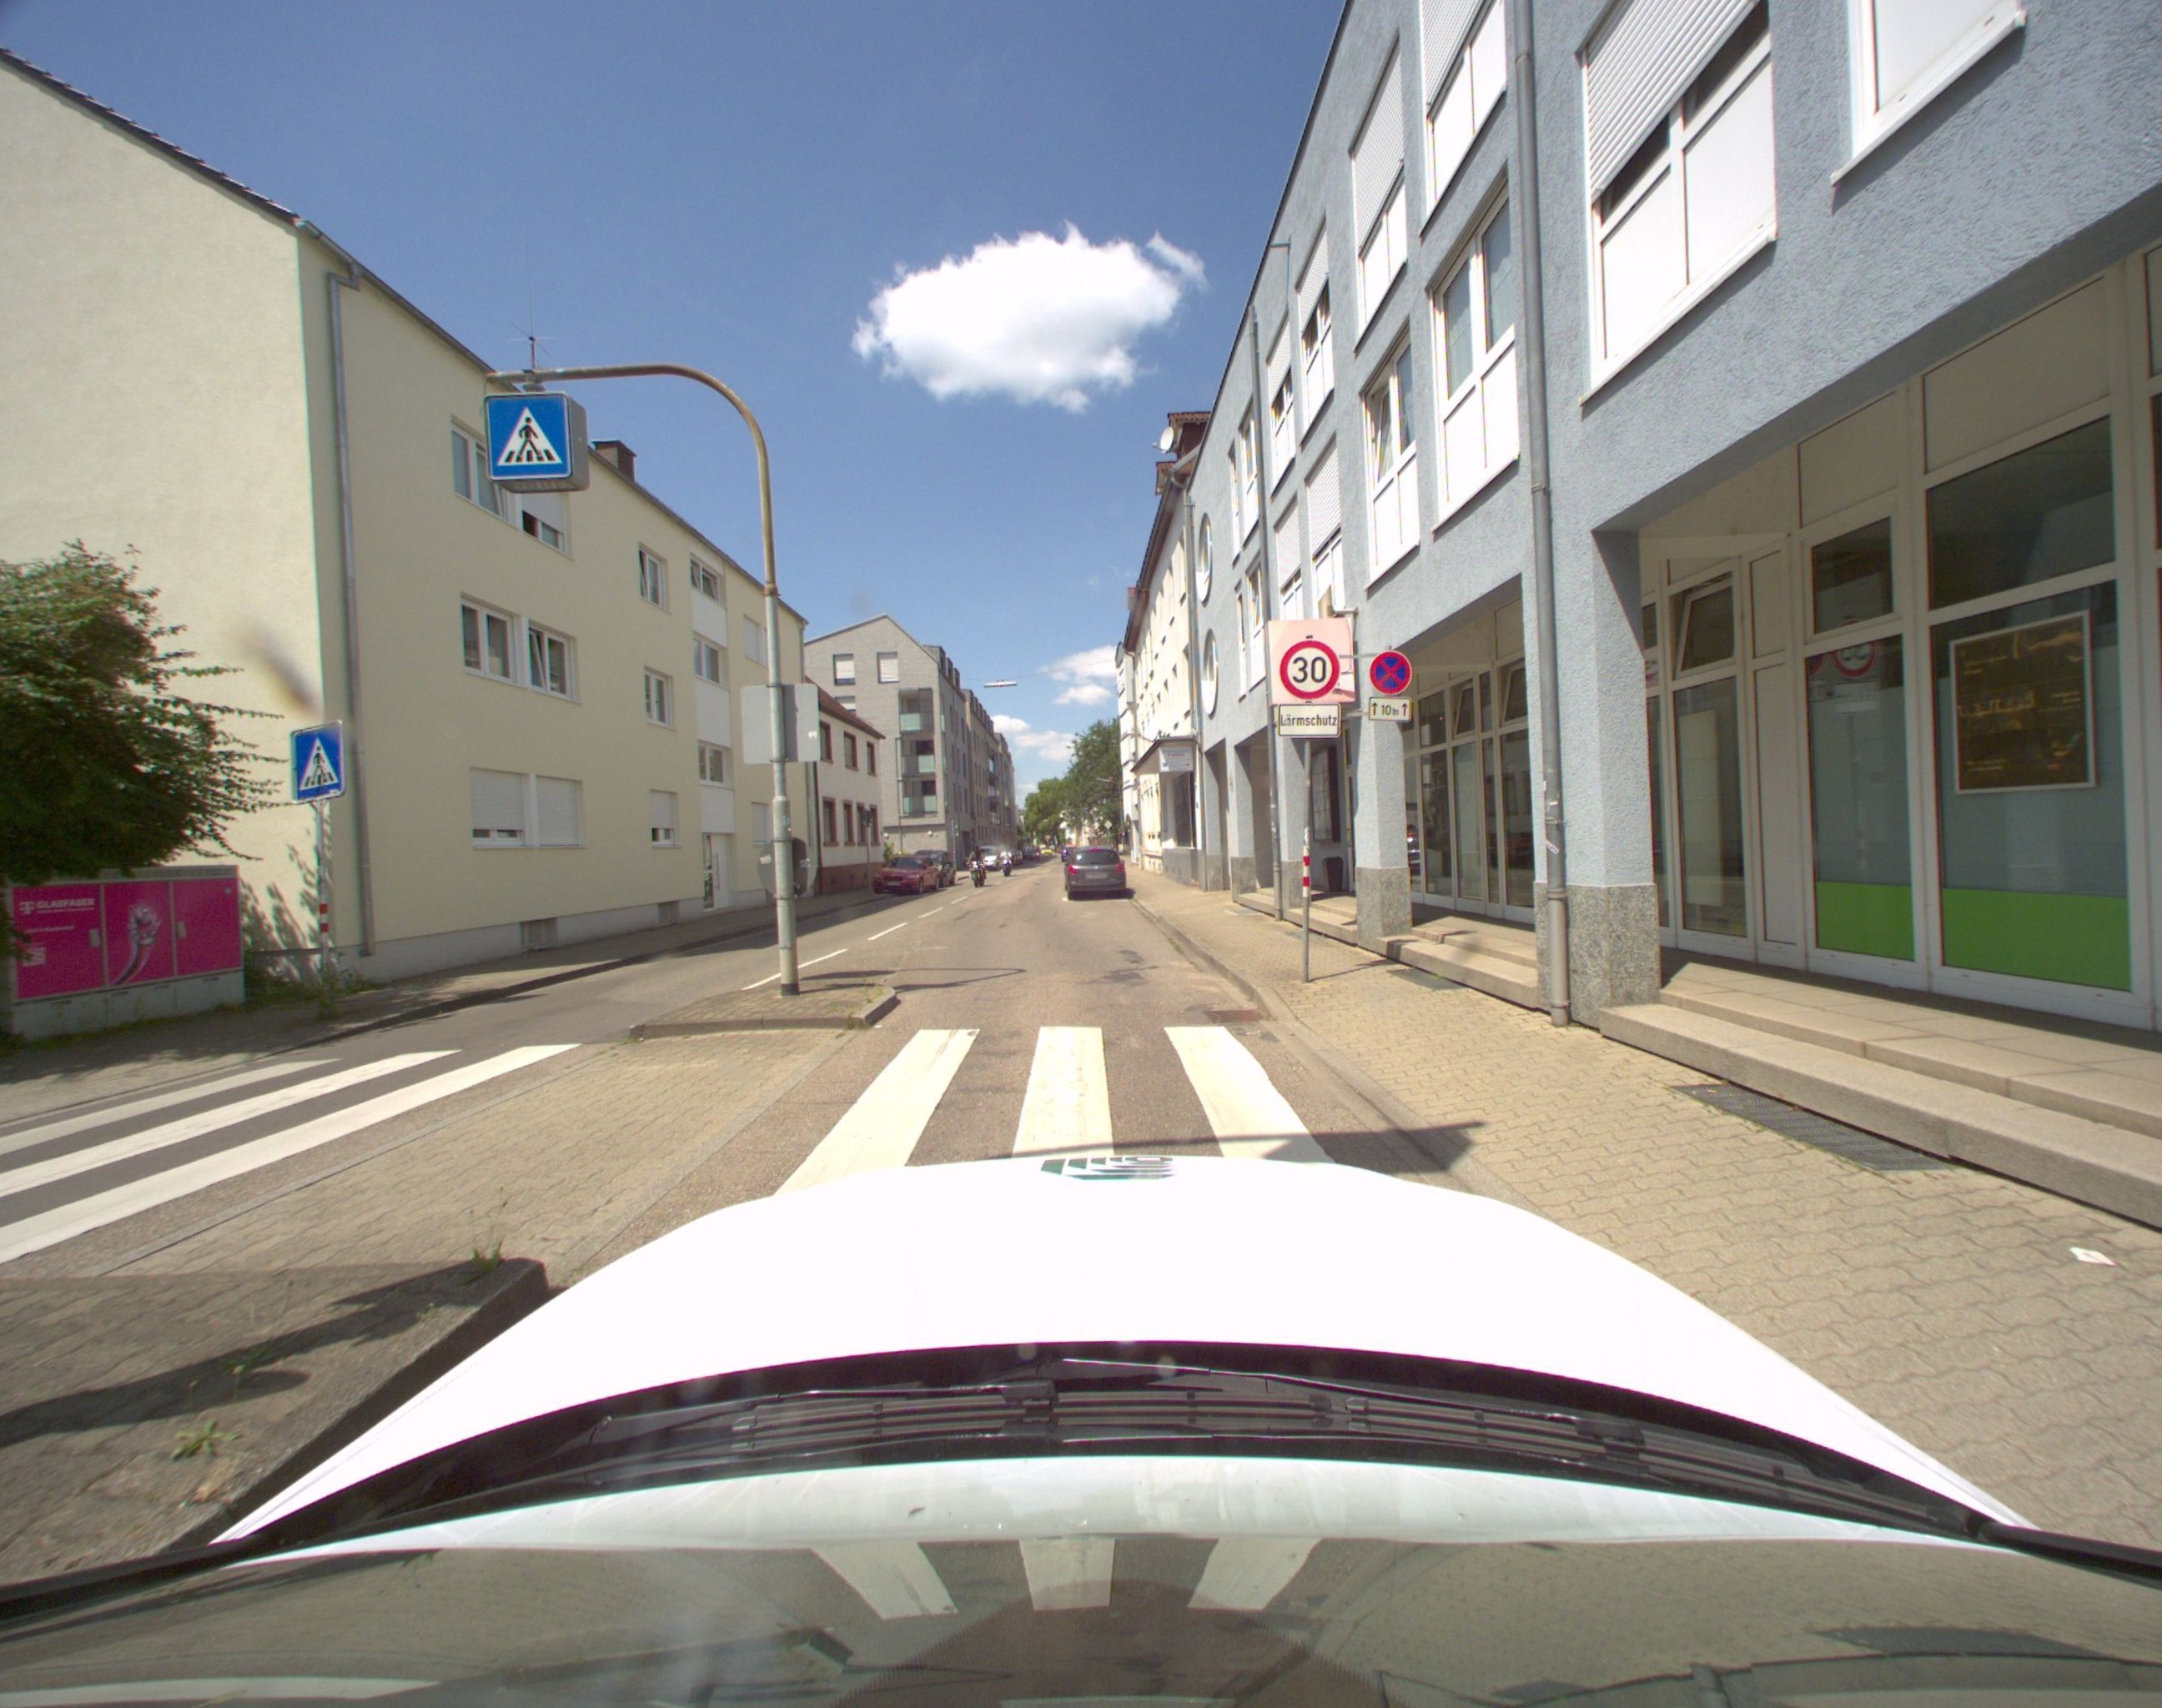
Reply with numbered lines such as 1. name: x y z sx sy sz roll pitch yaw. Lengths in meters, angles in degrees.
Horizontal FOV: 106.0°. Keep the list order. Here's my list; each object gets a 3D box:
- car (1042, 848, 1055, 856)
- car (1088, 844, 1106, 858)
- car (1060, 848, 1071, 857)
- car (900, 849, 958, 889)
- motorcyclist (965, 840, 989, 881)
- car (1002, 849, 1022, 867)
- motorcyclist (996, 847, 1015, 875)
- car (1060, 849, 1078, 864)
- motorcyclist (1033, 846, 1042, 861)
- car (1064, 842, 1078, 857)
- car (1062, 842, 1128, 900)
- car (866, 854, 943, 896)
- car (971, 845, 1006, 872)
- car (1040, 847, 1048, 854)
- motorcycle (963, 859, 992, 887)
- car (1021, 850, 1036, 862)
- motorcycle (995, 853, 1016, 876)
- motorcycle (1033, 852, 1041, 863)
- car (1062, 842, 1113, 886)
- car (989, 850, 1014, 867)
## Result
1. car: -5.848 -0.391 145.280 1.986 1.381 4.394 -1 1 1
2. car: 1.738 -0.356 89.878 1.688 1.420 3.998 -5 0 -1
3. car: -3.251 -0.322 172.391 1.991 1.618 3.992 -2 0 -5
4. car: -6.738 0.644 36.489 1.788 1.646 3.945 -1 0 0
5. motorcyclist: -4.289 0.273 33.705 0.710 1.634 1.070 -3 1 3
6. car: -6.581 0.361 77.454 1.586 1.554 3.569 -2 0 -1
7. motorcyclist: -4.141 0.349 44.715 0.913 1.480 1.203 -2 0 0
8. car: -1.180 0.215 80.751 1.710 1.402 4.000 -3 1 0
9. motorcyclist: -4.694 -0.042 87.606 0.820 1.509 1.057 -3 0 0
10. car: -1.388 -0.670 114.325 1.833 2.013 4.000 -2 1 0
11. car: 0.331 0.451 24.306 1.705 1.508 3.997 -2 0 -2
12. car: -6.744 0.767 31.526 1.827 1.416 4.292 -2 0 2
13. car: -6.710 0.270 59.349 1.749 1.892 4.341 0 1 3
14. car: -10.449 -0.944 228.971 2.153 2.013 3.993 -3 0 -5
15. motorcycle: -4.261 0.787 33.695 0.710 1.028 2.241 -3 1 3
16. car: -6.943 0.234 107.180 1.727 1.442 3.998 -3 0 -1
17. motorcycle: -4.152 0.547 44.747 0.893 1.176 2.208 -2 0 0
18. motorcycle: -4.710 0.364 87.755 0.685 1.122 2.028 -3 0 1
19. car: 0.209 0.329 30.297 1.724 1.420 4.543 -2 0 -1
20. car: -6.945 0.385 71.718 1.717 1.456 4.006 -1 0 1
